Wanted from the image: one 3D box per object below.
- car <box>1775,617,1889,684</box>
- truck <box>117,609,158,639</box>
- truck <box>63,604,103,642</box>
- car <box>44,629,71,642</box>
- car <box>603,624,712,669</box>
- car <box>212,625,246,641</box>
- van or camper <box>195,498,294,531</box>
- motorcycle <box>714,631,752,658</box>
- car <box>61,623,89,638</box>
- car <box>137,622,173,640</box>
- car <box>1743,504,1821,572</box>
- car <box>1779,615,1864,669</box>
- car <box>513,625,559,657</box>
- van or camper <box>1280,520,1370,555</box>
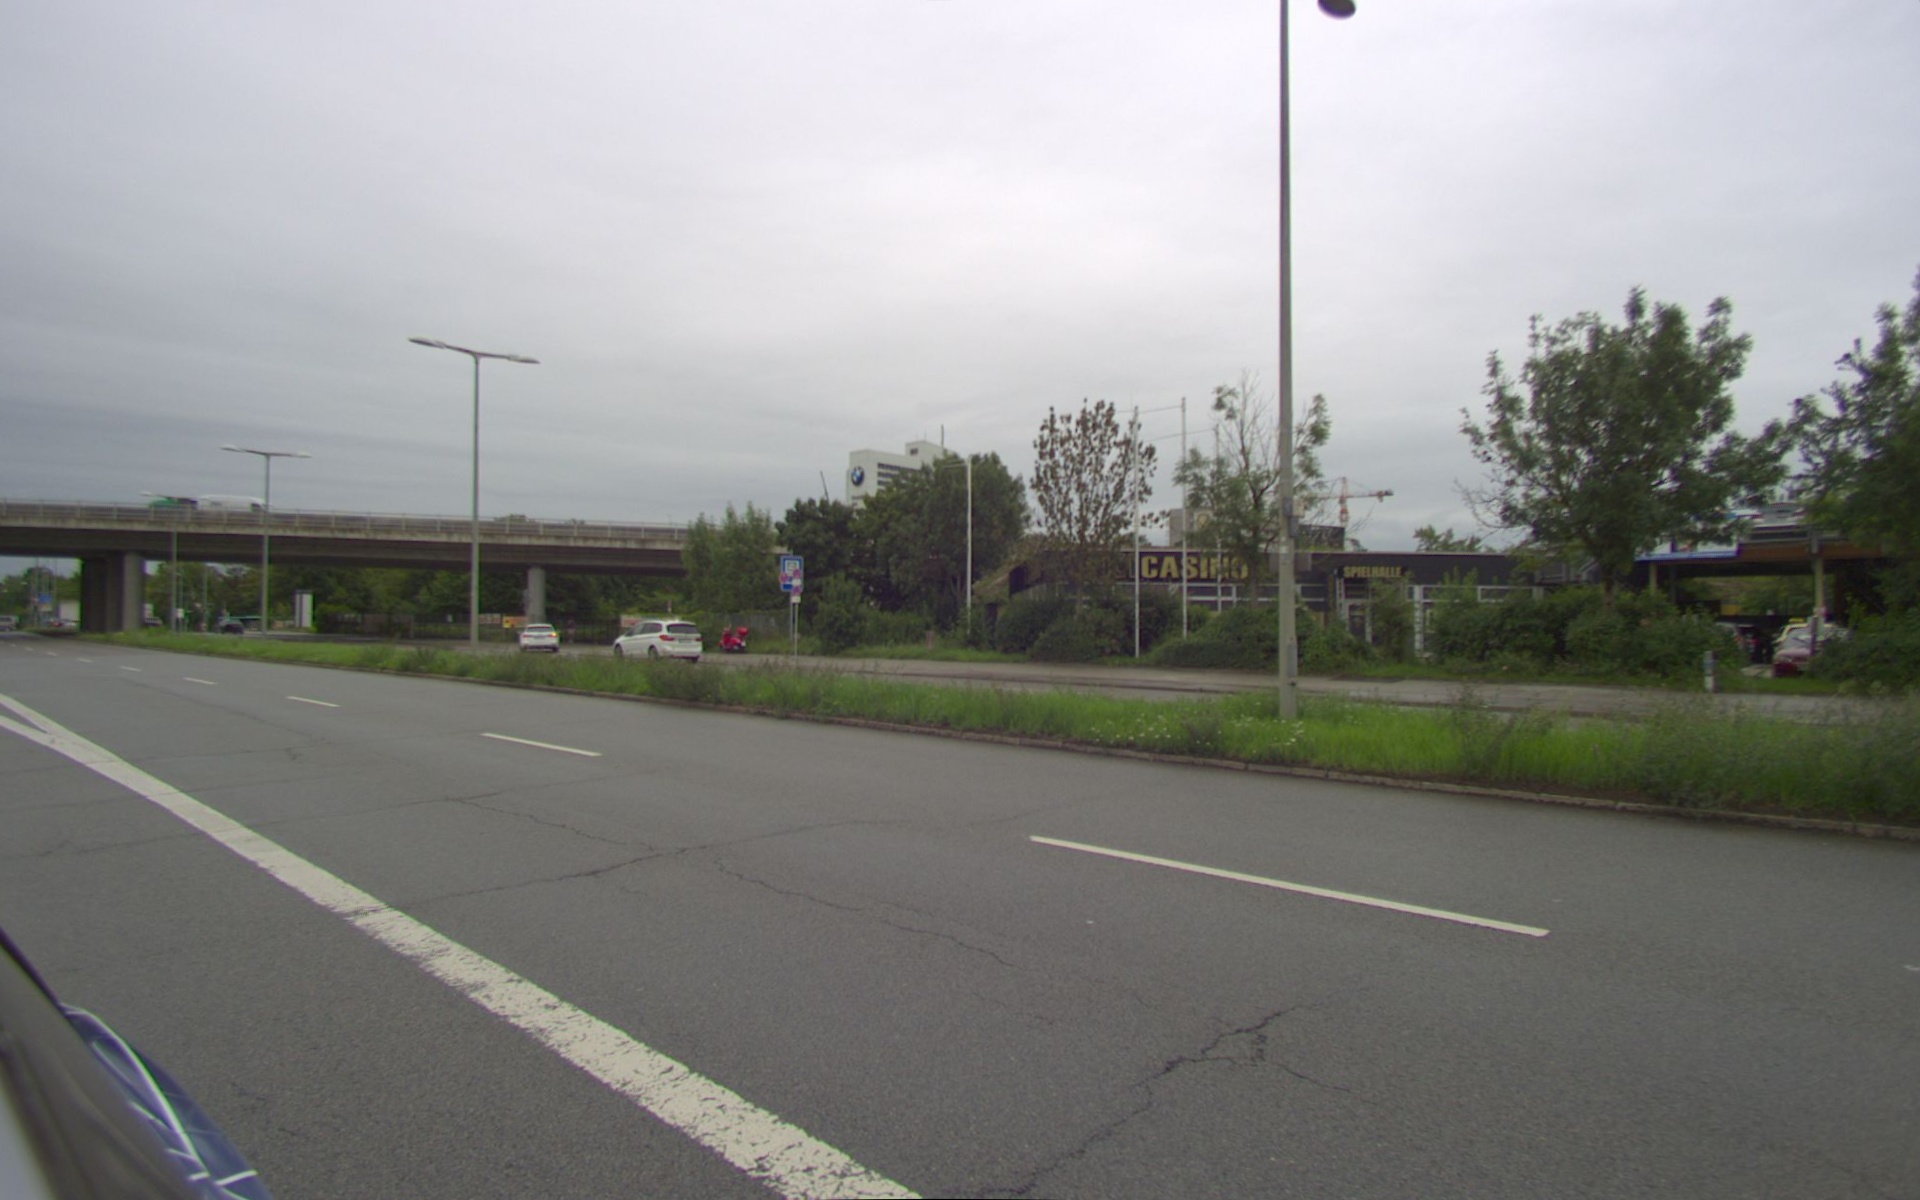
[{"bbox_3d":[20.391,1.139,23.779,1.868,1.431,3.947,-1,-2,39],"label":"car"},{"bbox_3d":[-87.344,2.544,107.465,7.233,3.000,2.228,-2,-5,43],"label":"truck"},{"bbox_3d":[-112.435,2.861,129.733,9.604,4.626,2.759,0,-4,44],"label":"truck"},{"bbox_3d":[-110.714,4.381,124.087,4.590,1.595,1.948,-2,-3,42],"label":"car"},{"bbox_3d":[-11.559,1.736,38.478,4.576,1.584,1.971,-1,-3,44],"label":"car"},{"bbox_3d":[-72.831,3.310,100.762,1.946,1.407,4.819,4,-3,-45],"label":"car"},{"bbox_3d":[-52.738,-6.269,74.695,5.421,2.029,2.335,2,-1,-7],"label":"van or camper"},{"bbox_3d":[-10.189,1.993,45.463,2.196,1.185,0.527,-1,-3,44],"label":"motorcycle"},{"bbox_3d":[-104.419,3.649,119.365,4.592,1.595,1.947,0,-4,44],"label":"car"},{"bbox_3d":[-78.259,3.004,98.369,4.590,1.595,1.948,0,-4,42],"label":"car"},{"bbox_3d":[35.631,-2.603,43.804,2.136,2.387,4.728,2,-2,45],"label":"car"},{"bbox_3d":[27.128,1.276,31.837,1.909,1.577,3.944,0,-1,43],"label":"car"},{"bbox_3d":[-22.139,2.092,52.734,1.965,1.584,5.136,2,-2,-25],"label":"car"},{"bbox_3d":[28.434,-4.824,78.926,5.952,2.262,2.647,2,-1,-4],"label":"van or camper"}]
